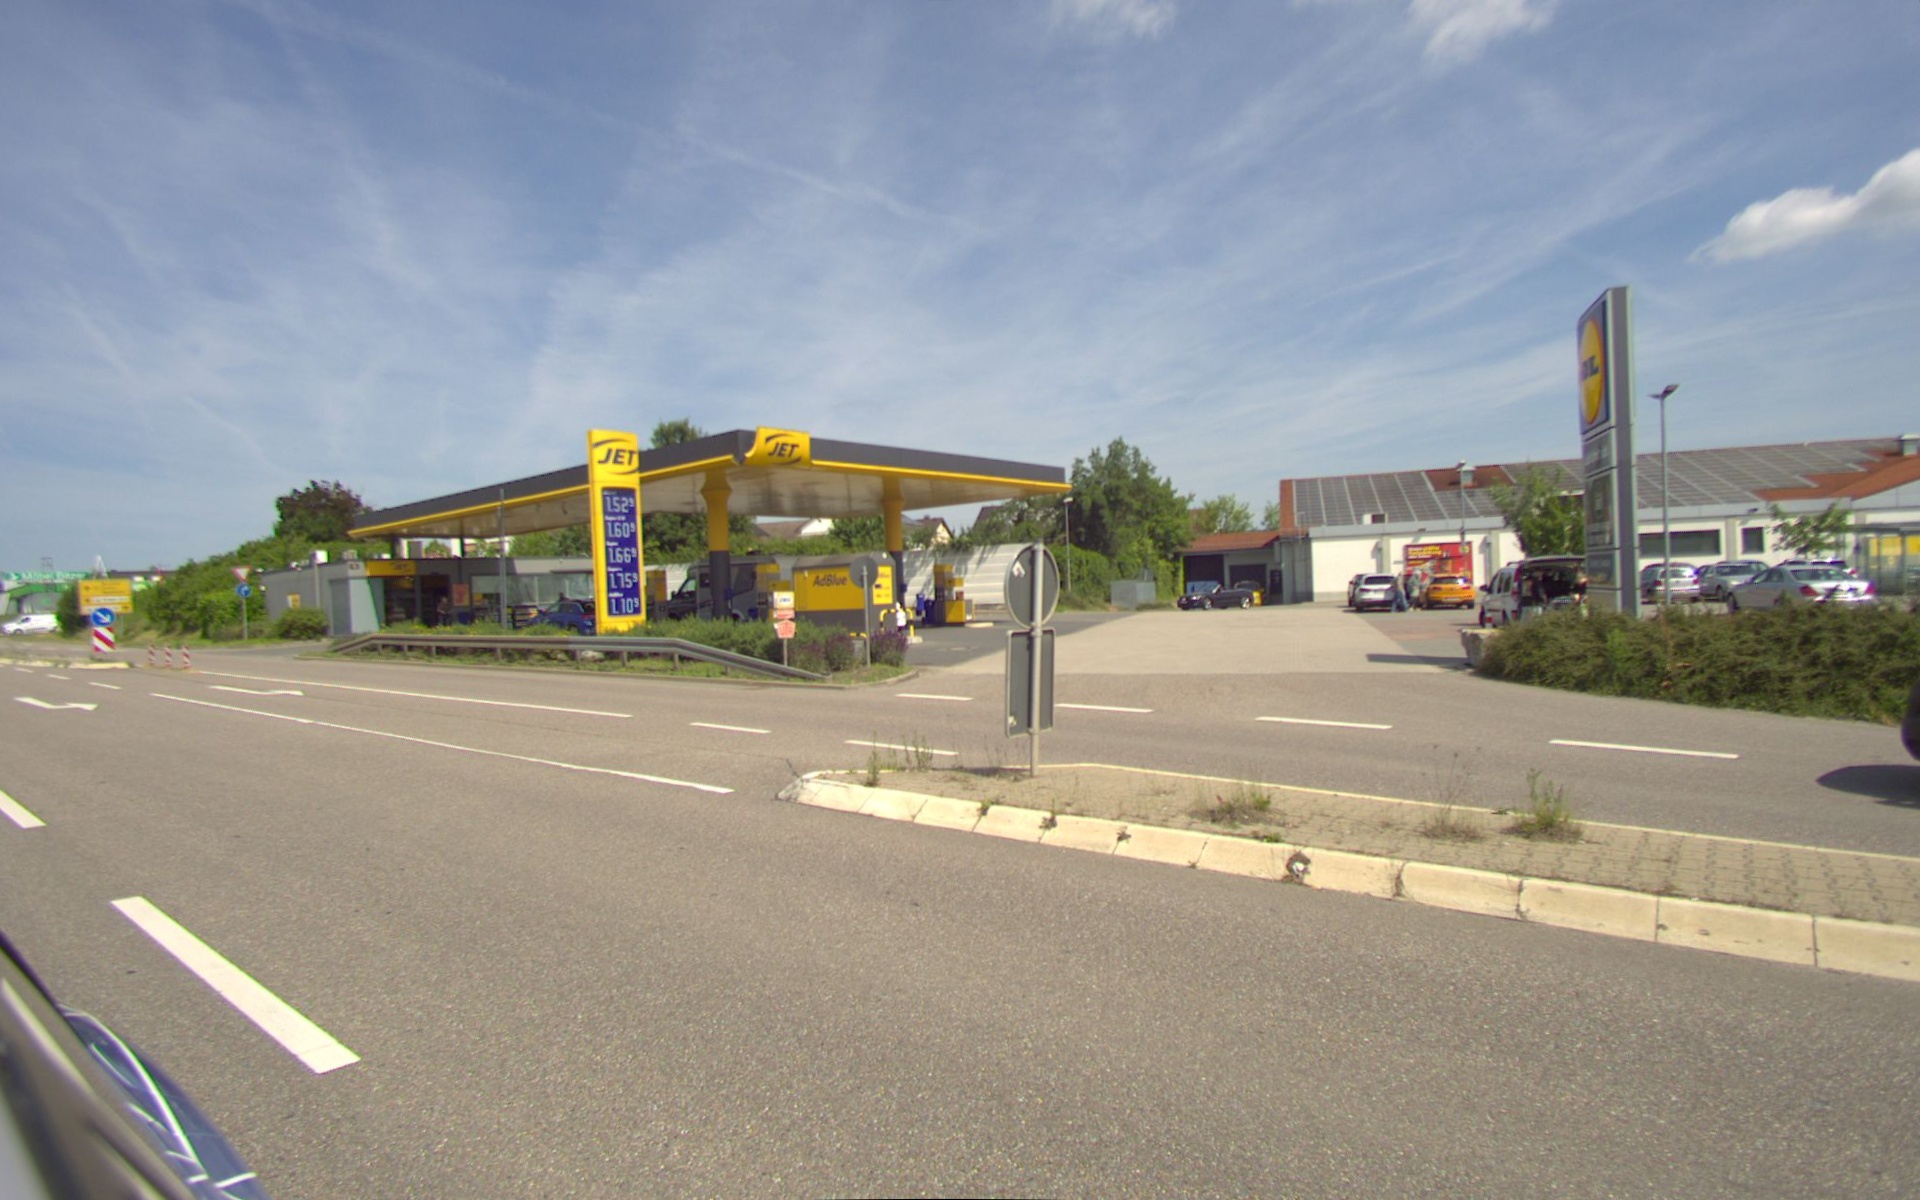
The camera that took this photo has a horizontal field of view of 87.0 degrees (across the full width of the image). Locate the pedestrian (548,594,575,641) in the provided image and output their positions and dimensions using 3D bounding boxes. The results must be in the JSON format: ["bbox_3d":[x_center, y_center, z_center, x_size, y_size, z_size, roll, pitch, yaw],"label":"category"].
[{"bbox_3d":[-16.234,0.703,41.212,0.639,1.852,0.788,-2,0,41],"label":"pedestrian"}]

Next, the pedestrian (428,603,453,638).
[{"bbox_3d":[-22.202,0.870,43.240,0.900,1.438,0.495,-1,0,-34],"label":"pedestrian"}]

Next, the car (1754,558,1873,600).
[{"bbox_3d":[32.112,-0.786,38.227,1.868,1.453,3.982,-2,1,14],"label":"car"}]

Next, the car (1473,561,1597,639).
[{"bbox_3d":[14.804,-0.023,26.304,1.864,1.825,4.145,-2,0,17],"label":"car"}]

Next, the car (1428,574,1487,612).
[{"bbox_3d":[20.656,-0.297,41.922,1.879,1.453,3.959,-1,1,31],"label":"car"}]

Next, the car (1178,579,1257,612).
[{"bbox_3d":[13.645,-0.239,53.685,3.809,1.625,1.759,-1,0,-27],"label":"car"}]

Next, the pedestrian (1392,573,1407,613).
[{"bbox_3d":[17.362,-0.271,40.016,0.503,1.564,0.513,-1,0,23],"label":"pedestrian"}]

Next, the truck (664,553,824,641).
[{"bbox_3d":[-7.940,-0.091,36.797,6.278,2.944,2.222,-1,0,40],"label":"truck"}]

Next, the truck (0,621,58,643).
[{"bbox_3d":[-99.133,3.378,107.504,1.997,2.024,4.714,-2,1,38],"label":"truck"}]

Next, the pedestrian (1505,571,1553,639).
[{"bbox_3d":[13.567,0.113,24.153,0.801,1.587,0.701,-1,0,13],"label":"pedestrian"}]

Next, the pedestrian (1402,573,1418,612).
[{"bbox_3d":[18.217,-0.290,40.978,0.516,1.564,0.500,-1,0,33],"label":"pedestrian"}]

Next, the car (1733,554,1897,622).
[{"bbox_3d":[23.539,-0.340,28.102,1.850,1.688,4.399,-2,1,17],"label":"car"}]

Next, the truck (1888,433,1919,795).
[{"bbox_3d":[9.007,0.024,4.860,2.212,2.393,6.365,-1,0,-36],"label":"truck"}]

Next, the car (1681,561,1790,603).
[{"bbox_3d":[29.703,-0.693,38.911,1.868,1.453,3.982,-2,1,14],"label":"car"}]

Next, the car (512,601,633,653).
[{"bbox_3d":[-13.543,0.942,35.287,4.258,1.719,1.975,-2,-1,37],"label":"car"}]

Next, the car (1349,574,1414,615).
[{"bbox_3d":[17.565,-0.250,42.099,1.764,1.551,3.956,-3,0,33],"label":"car"}]

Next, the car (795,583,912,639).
[{"bbox_3d":[-3.581,0.398,33.578,4.001,1.741,1.713,-2,-2,44],"label":"car"}]

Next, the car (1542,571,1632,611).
[{"bbox_3d":[24.618,-0.375,39.916,1.868,1.453,3.982,-2,1,14],"label":"car"}]

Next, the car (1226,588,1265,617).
[{"bbox_3d":[18.920,0.159,66.909,1.986,1.823,4.356,-2,0,22],"label":"car"}]

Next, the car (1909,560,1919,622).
[{"bbox_3d":[24.107,-0.207,23.221,1.768,1.513,4.122,-2,1,18],"label":"car"}]

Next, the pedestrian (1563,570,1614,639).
[{"bbox_3d":[14.698,0.096,23.692,0.801,1.587,0.701,-1,0,13],"label":"pedestrian"}]

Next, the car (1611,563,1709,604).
[{"bbox_3d":[27.462,-0.651,39.870,1.868,1.453,3.982,-2,1,14],"label":"car"}]
